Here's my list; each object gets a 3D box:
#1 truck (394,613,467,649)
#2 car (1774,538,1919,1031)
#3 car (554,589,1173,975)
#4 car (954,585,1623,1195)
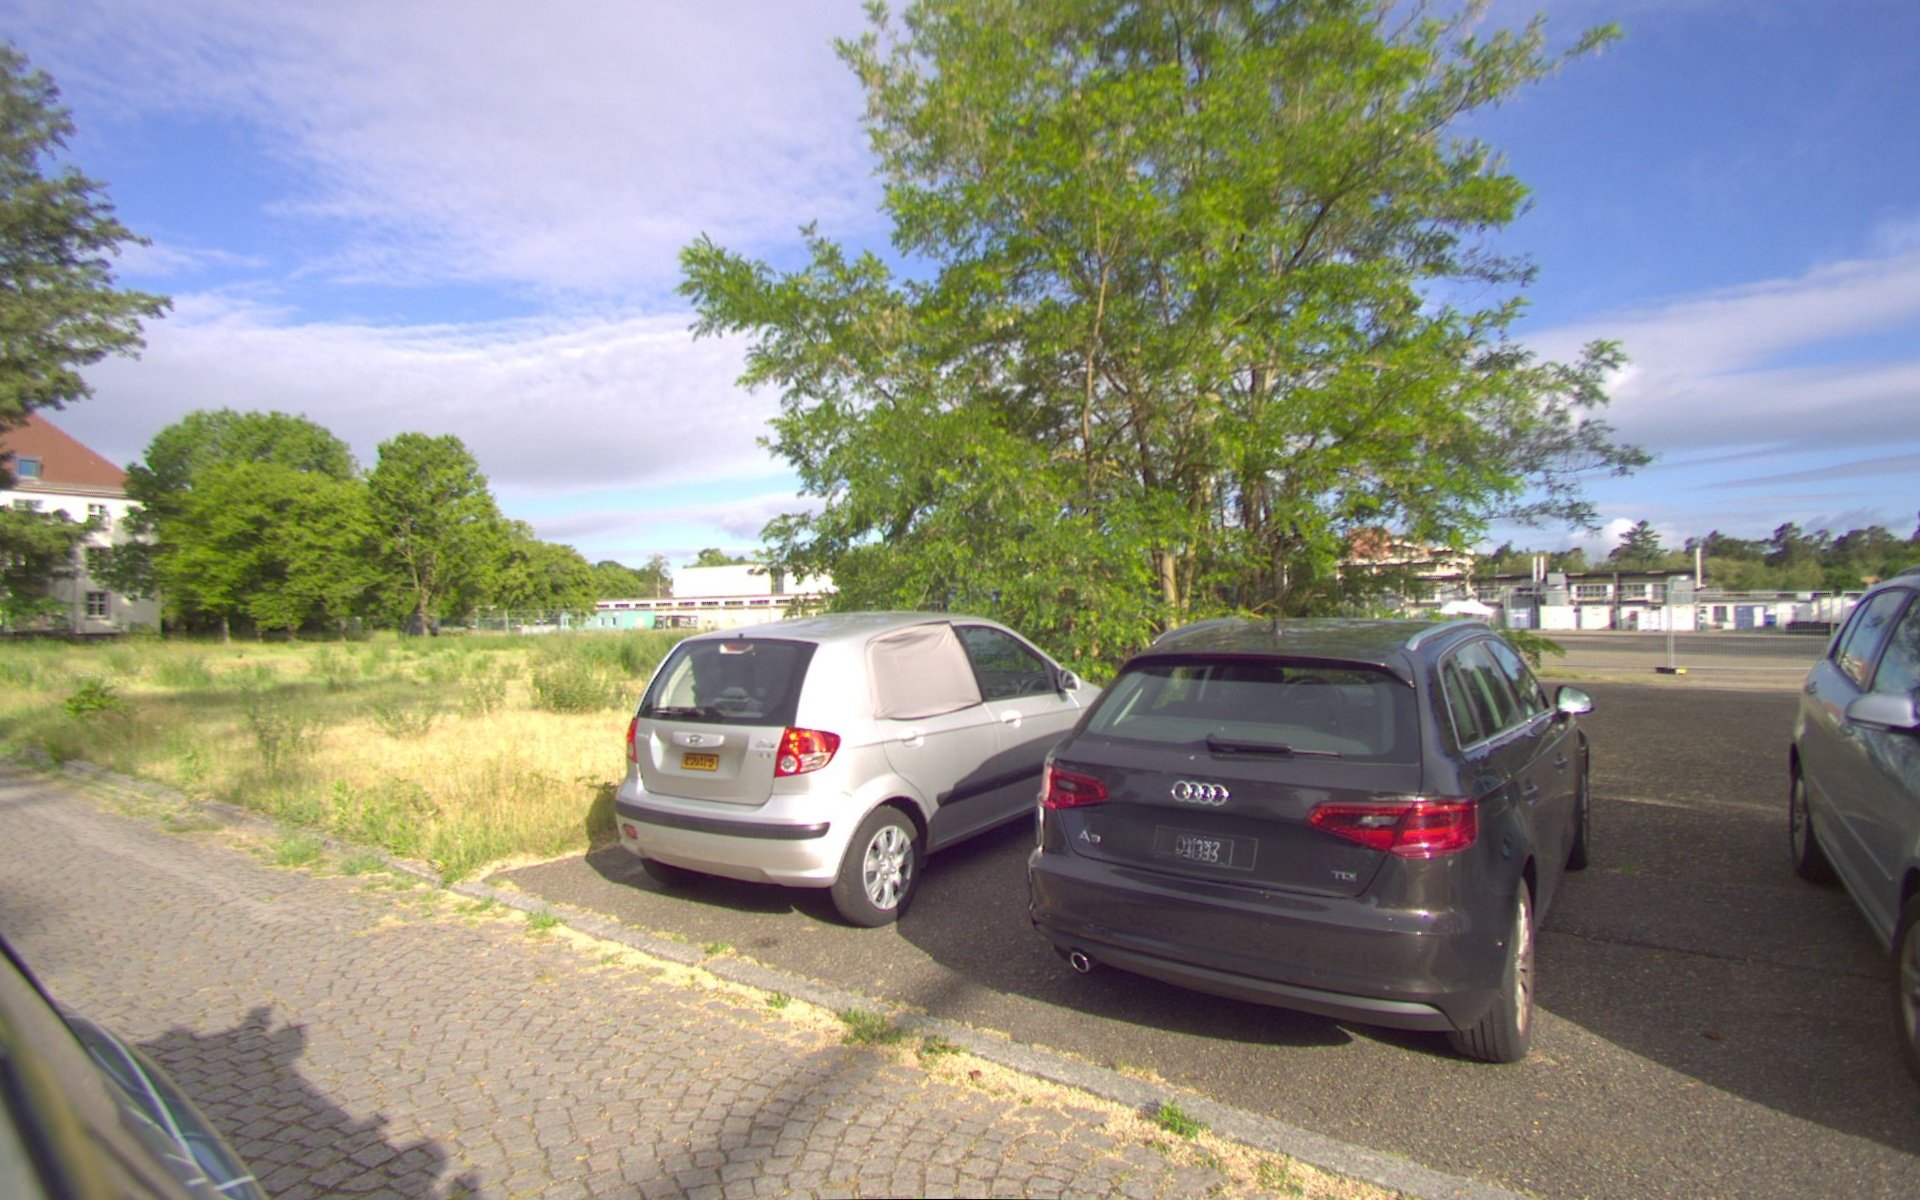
[{"bbox_3d":[-39.730,2.333,75.849,6.951,2.607,2.388,-2,-2,40],"label":"truck"},{"bbox_3d":[4.313,0.563,3.470,1.853,1.611,4.091,-1,2,32],"label":"car"},{"bbox_3d":[-0.294,0.748,6.214,1.845,1.484,3.652,-1,2,35],"label":"car"},{"bbox_3d":[1.845,0.721,4.648,1.855,1.440,3.795,-1,2,36],"label":"car"}]
